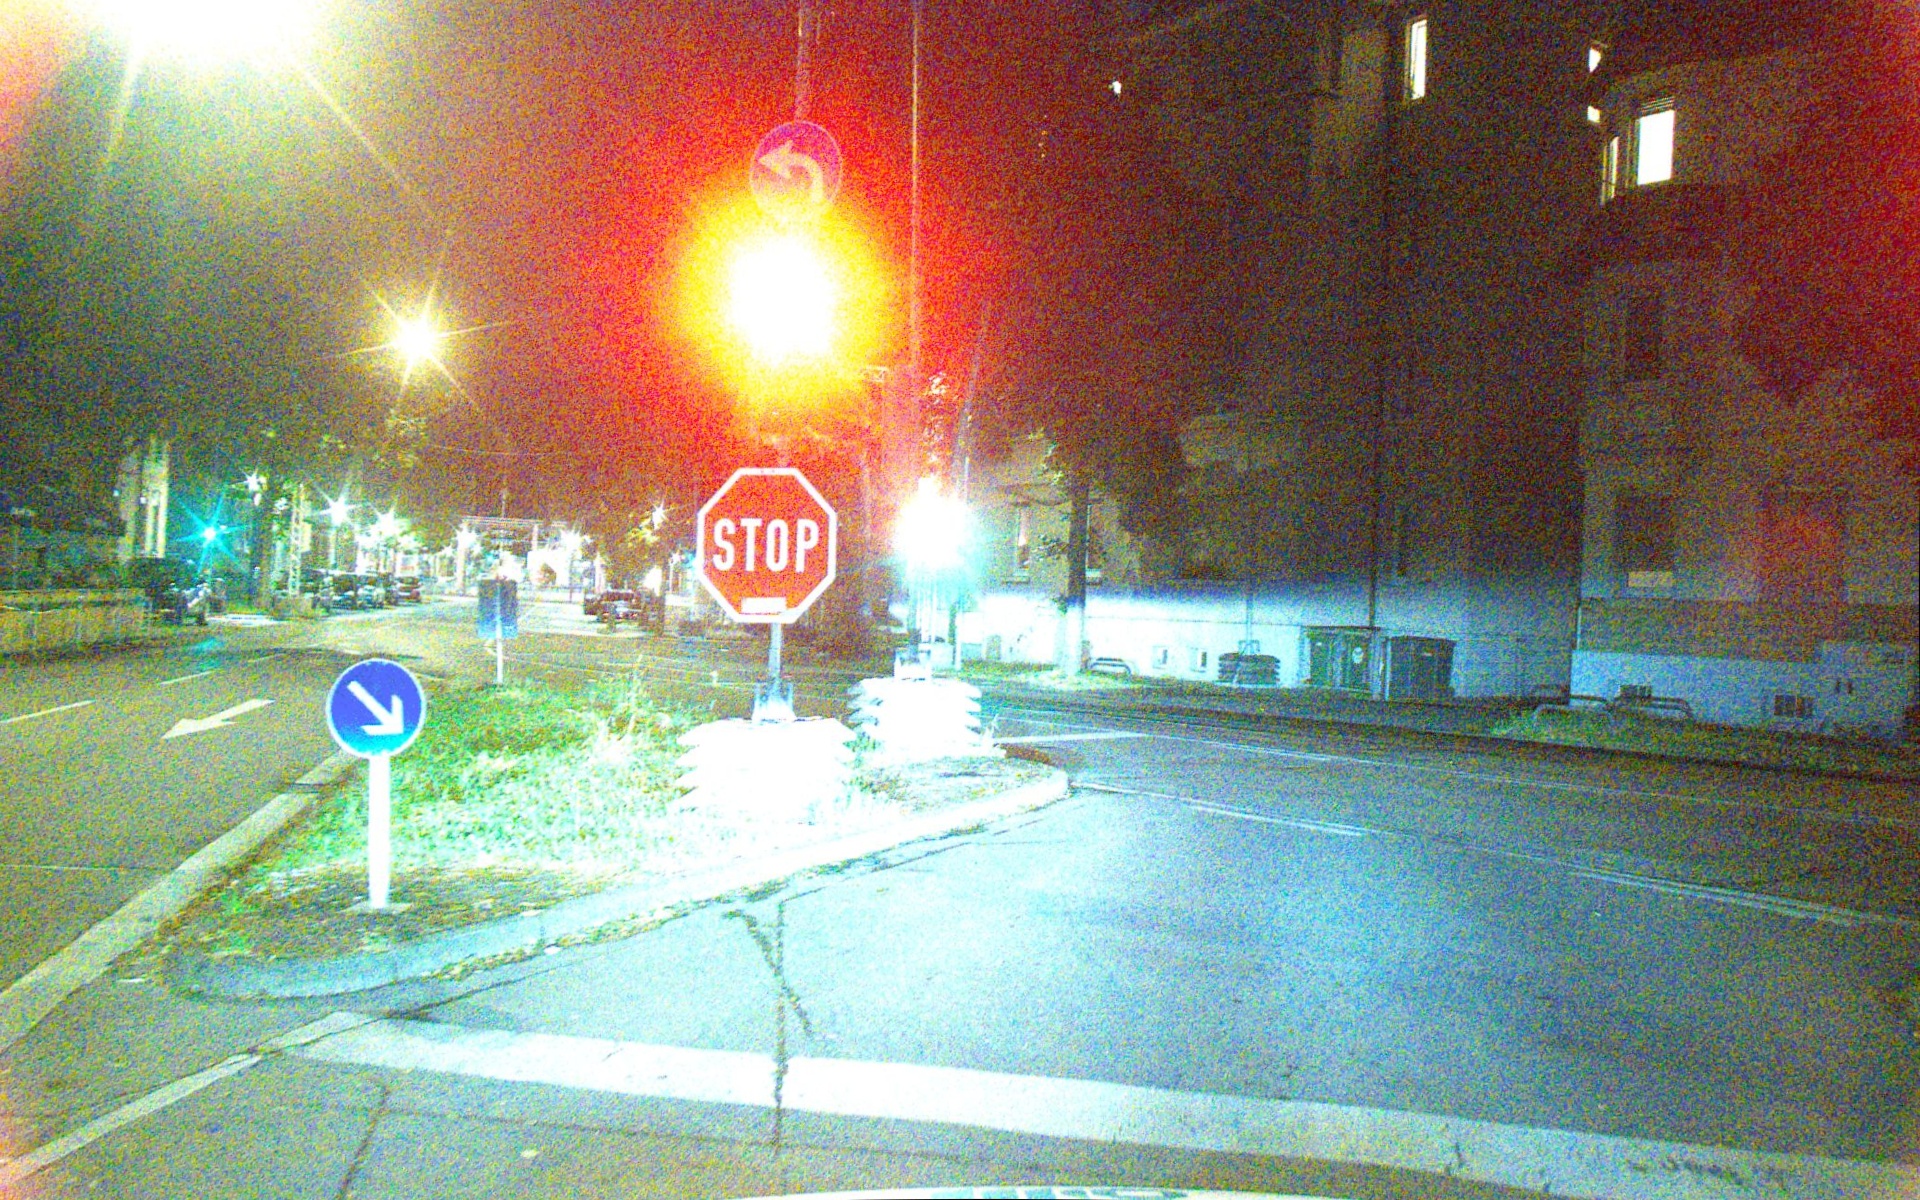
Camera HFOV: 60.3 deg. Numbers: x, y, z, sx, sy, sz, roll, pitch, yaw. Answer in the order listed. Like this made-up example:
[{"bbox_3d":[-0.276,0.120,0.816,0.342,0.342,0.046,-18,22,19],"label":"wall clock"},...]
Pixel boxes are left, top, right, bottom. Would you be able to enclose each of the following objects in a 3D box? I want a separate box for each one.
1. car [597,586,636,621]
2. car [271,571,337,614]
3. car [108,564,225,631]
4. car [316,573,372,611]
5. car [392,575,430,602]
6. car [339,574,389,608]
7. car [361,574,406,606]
[{"bbox_3d":[-15.210,0.123,73.236,1.622,1.456,3.988,2,0,-12],"label":"car"},{"bbox_3d":[-23.826,-0.279,60.172,1.623,1.456,3.986,2,0,-13],"label":"car"},{"bbox_3d":[-18.624,-0.070,38.994,1.623,1.456,3.986,2,0,-13],"label":"car"},{"bbox_3d":[-25.255,-0.322,67.941,1.623,1.456,3.986,2,0,-13],"label":"car"},{"bbox_3d":[-31.148,-0.641,93.940,1.623,1.456,3.986,2,0,-13],"label":"car"},{"bbox_3d":[-26.587,-0.411,73.921,1.623,1.456,3.986,2,0,-13],"label":"car"},{"bbox_3d":[-28.090,-0.486,80.618,1.623,1.456,3.986,2,0,-13],"label":"car"}]
